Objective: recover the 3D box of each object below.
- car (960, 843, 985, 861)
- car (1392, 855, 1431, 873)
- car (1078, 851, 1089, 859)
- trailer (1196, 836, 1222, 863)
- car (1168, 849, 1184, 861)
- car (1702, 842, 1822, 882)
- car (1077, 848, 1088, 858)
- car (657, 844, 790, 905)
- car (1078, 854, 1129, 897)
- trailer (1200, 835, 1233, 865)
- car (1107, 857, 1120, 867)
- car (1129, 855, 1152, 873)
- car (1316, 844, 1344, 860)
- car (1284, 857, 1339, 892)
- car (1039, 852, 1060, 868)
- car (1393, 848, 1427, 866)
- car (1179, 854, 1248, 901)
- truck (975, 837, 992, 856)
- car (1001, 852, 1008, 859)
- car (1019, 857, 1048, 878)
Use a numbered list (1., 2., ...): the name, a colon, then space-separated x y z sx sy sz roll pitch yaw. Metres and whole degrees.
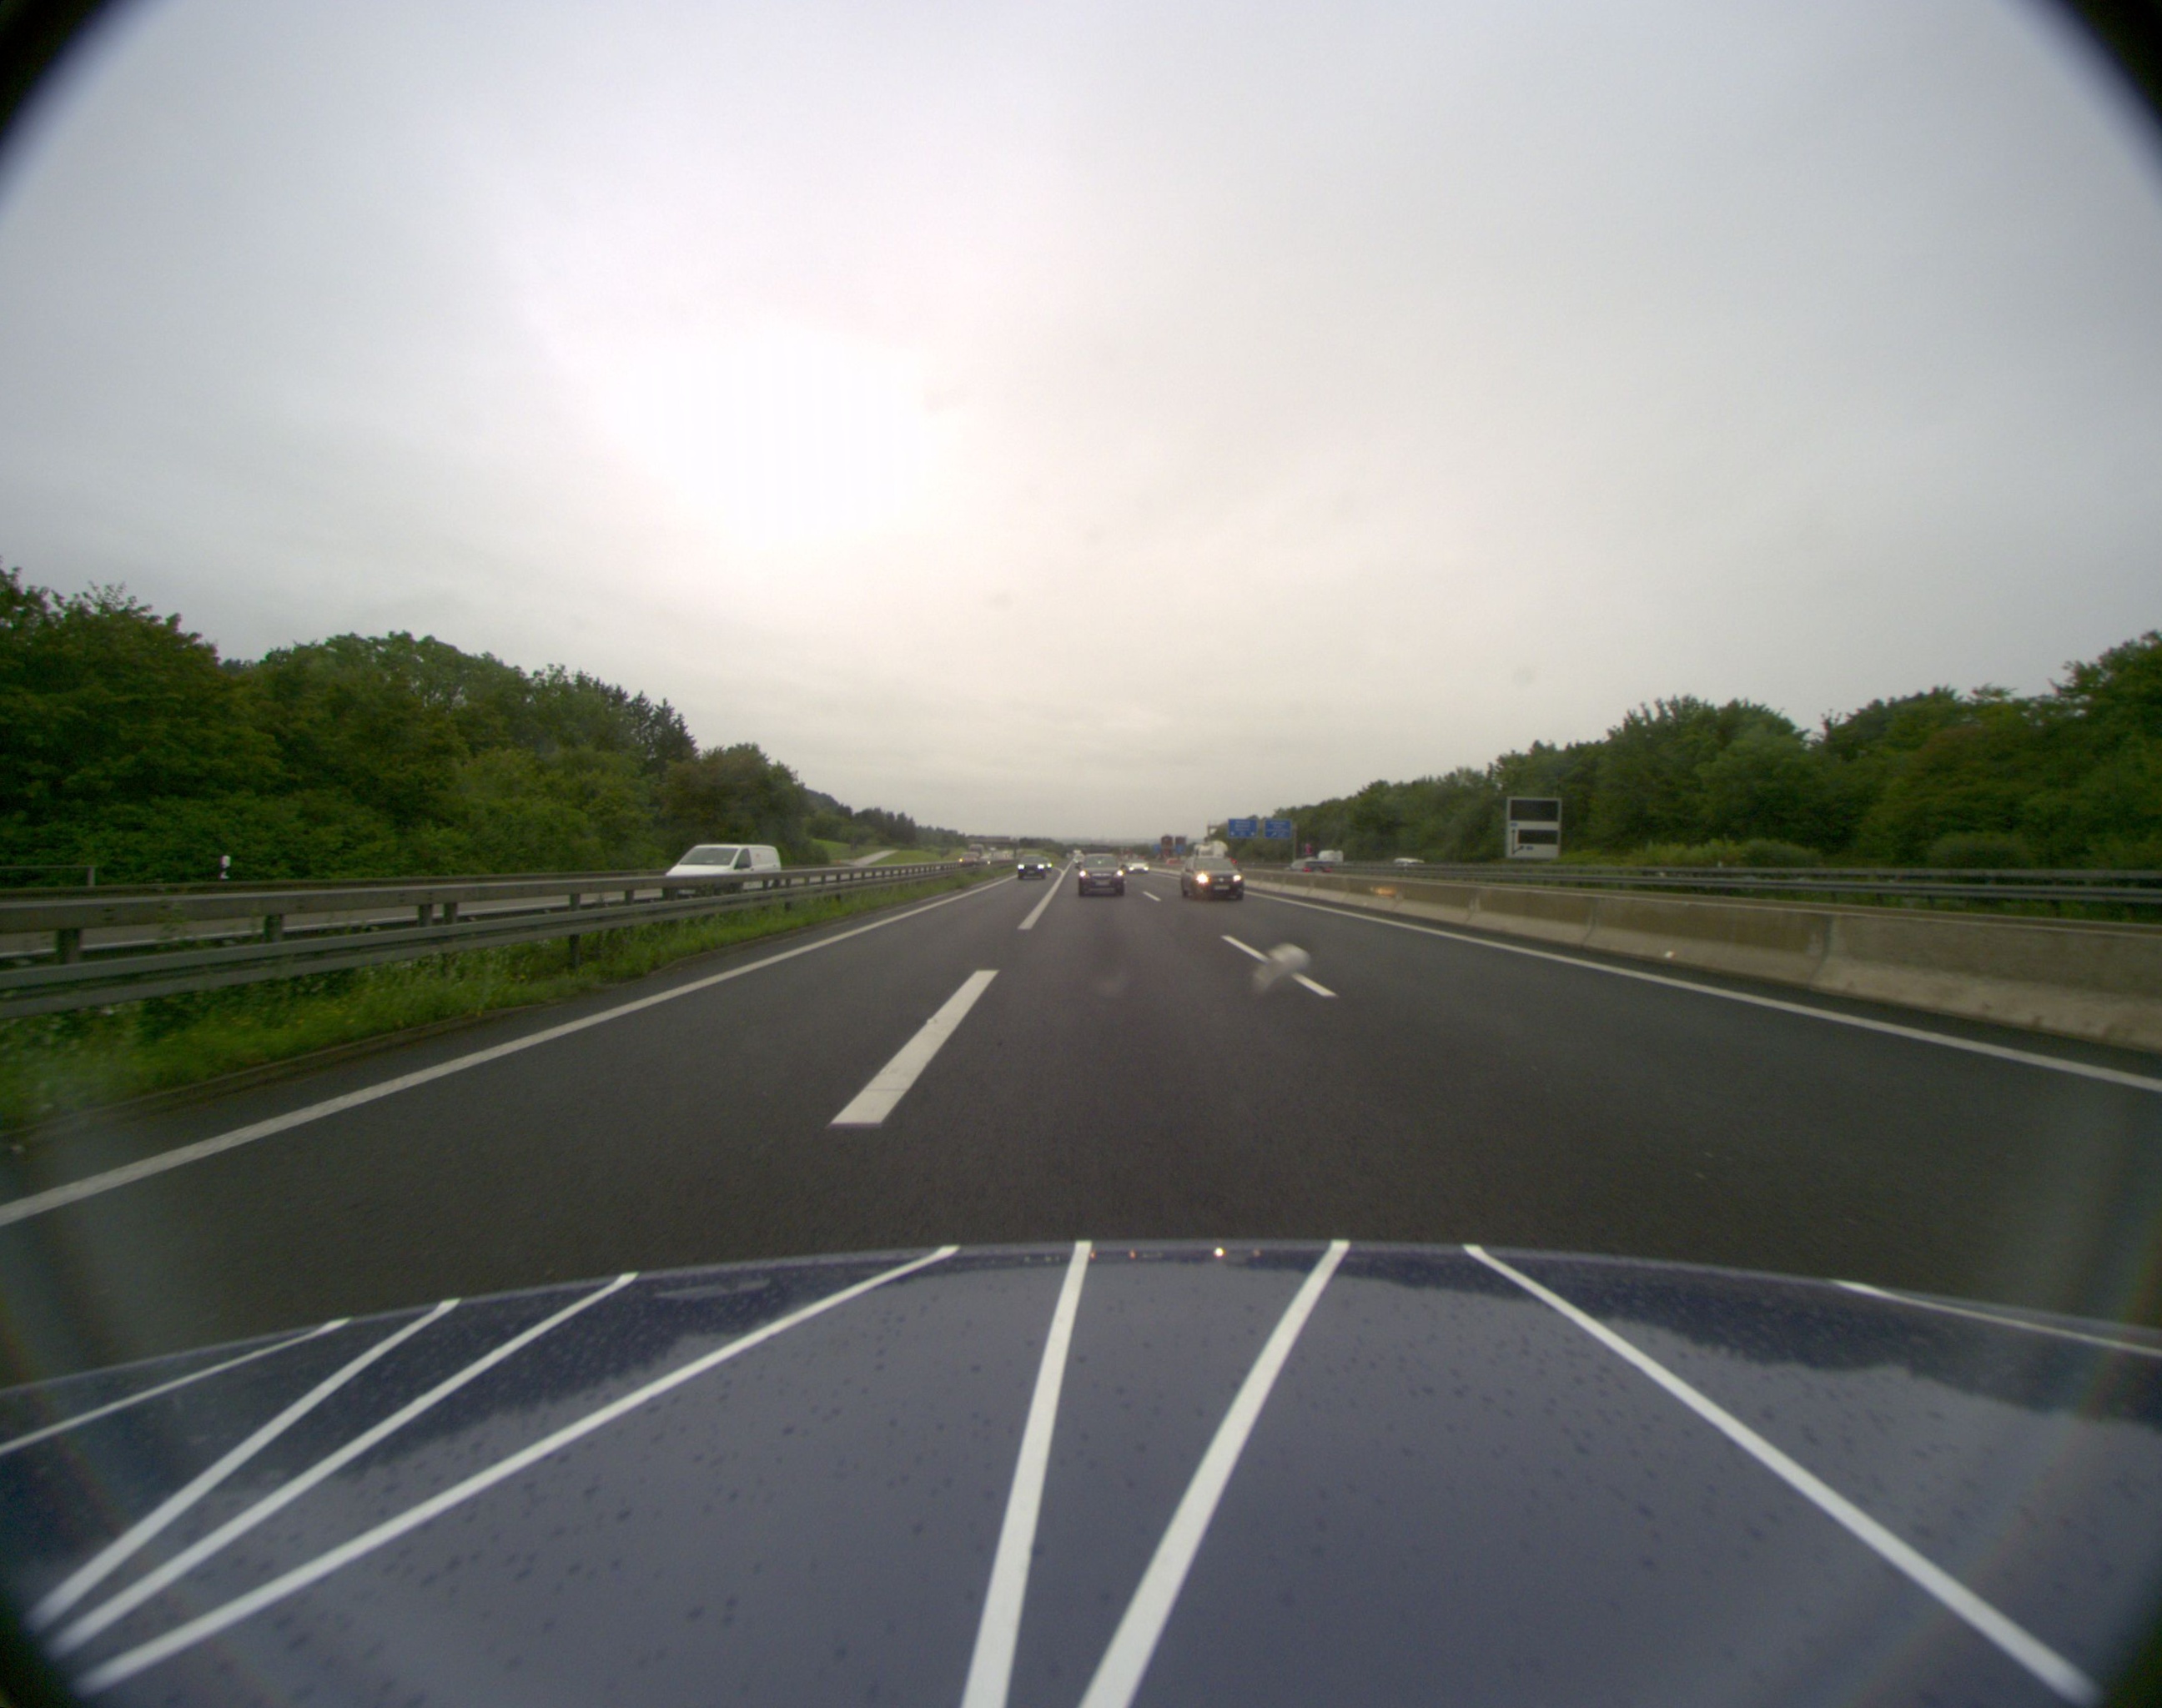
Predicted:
1. car: -12.237 -0.231 86.208 2.130 2.002 5.076 -1 1 -1
2. car: 29.161 0.851 67.221 1.708 1.499 3.999 -1 1 0
3. car: 0.519 0.116 151.185 1.919 1.481 4.566 -1 1 -2
4. trailer: 18.189 -0.628 108.059 2.643 3.694 6.491 -1 1 1
5. car: 13.307 0.137 106.560 1.813 1.571 4.355 -1 1 1
6. car: 32.132 0.363 36.047 1.805 1.776 4.412 0 0 2
7. car: 0.280 -0.312 157.281 2.016 1.994 4.566 -1 1 -2
8. car: -11.021 0.554 23.844 1.914 1.684 4.718 -1 1 0
9. car: 0.845 0.796 30.675 1.813 1.571 3.834 -1 1 -2
10. trailer: 18.148 -0.575 102.468 2.643 3.715 10.810 -1 1 1
11. car: 5.222 1.248 123.376 1.726 1.481 4.566 -1 1 -2
12. car: 5.313 0.864 68.480 1.726 1.481 4.566 -1 1 0
13. car: 32.284 -0.234 98.589 1.878 2.002 5.298 -1 1 0
14. car: 13.604 1.177 45.157 1.900 1.865 4.542 -1 1 0
15. car: -3.205 0.627 76.878 1.885 1.519 4.000 -1 1 1
16. car: 34.498 0.291 79.731 1.708 1.759 3.999 -1 1 -2
17. car: 4.630 0.786 27.220 1.725 1.481 4.567 -1 1 1
18. truck: -20.474 -1.572 160.067 2.800 3.878 10.023 -1 1 -4
19. car: -21.648 0.380 215.030 1.752 2.002 4.496 -1 1 -5
20. car: -3.367 0.957 54.932 1.867 1.349 4.566 -1 1 -1
